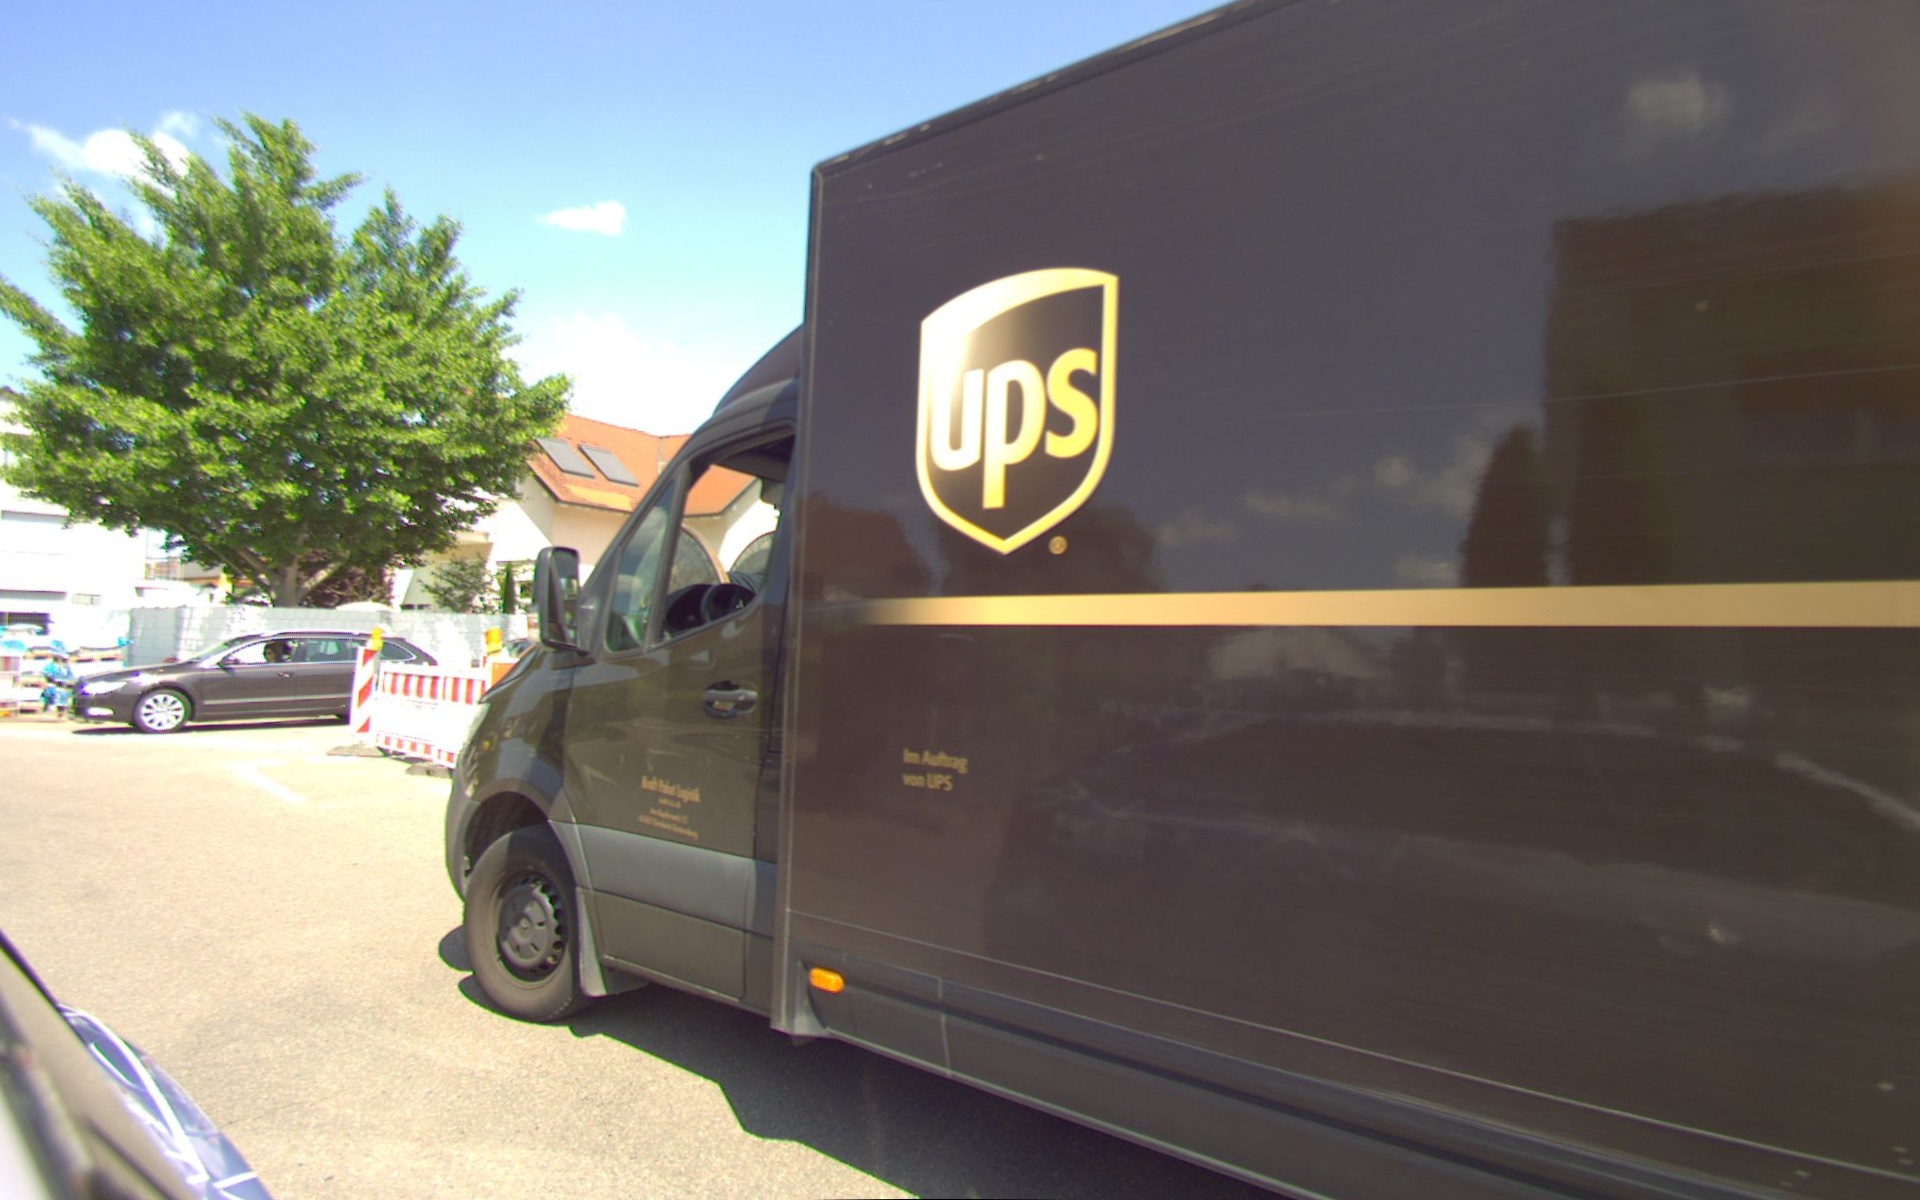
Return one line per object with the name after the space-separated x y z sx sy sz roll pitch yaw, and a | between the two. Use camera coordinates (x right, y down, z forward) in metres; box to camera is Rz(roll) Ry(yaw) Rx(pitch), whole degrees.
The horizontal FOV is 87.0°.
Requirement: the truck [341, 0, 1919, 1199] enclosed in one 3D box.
1.288 0.133 2.779 7.285 2.809 2.411 -1 -6 37 | truck

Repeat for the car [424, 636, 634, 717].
-9.096 1.598 21.685 1.709 1.544 3.998 -4 -4 27 | car

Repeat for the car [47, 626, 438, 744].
-10.803 1.207 15.534 1.787 1.547 4.641 -4 -4 44 | car
